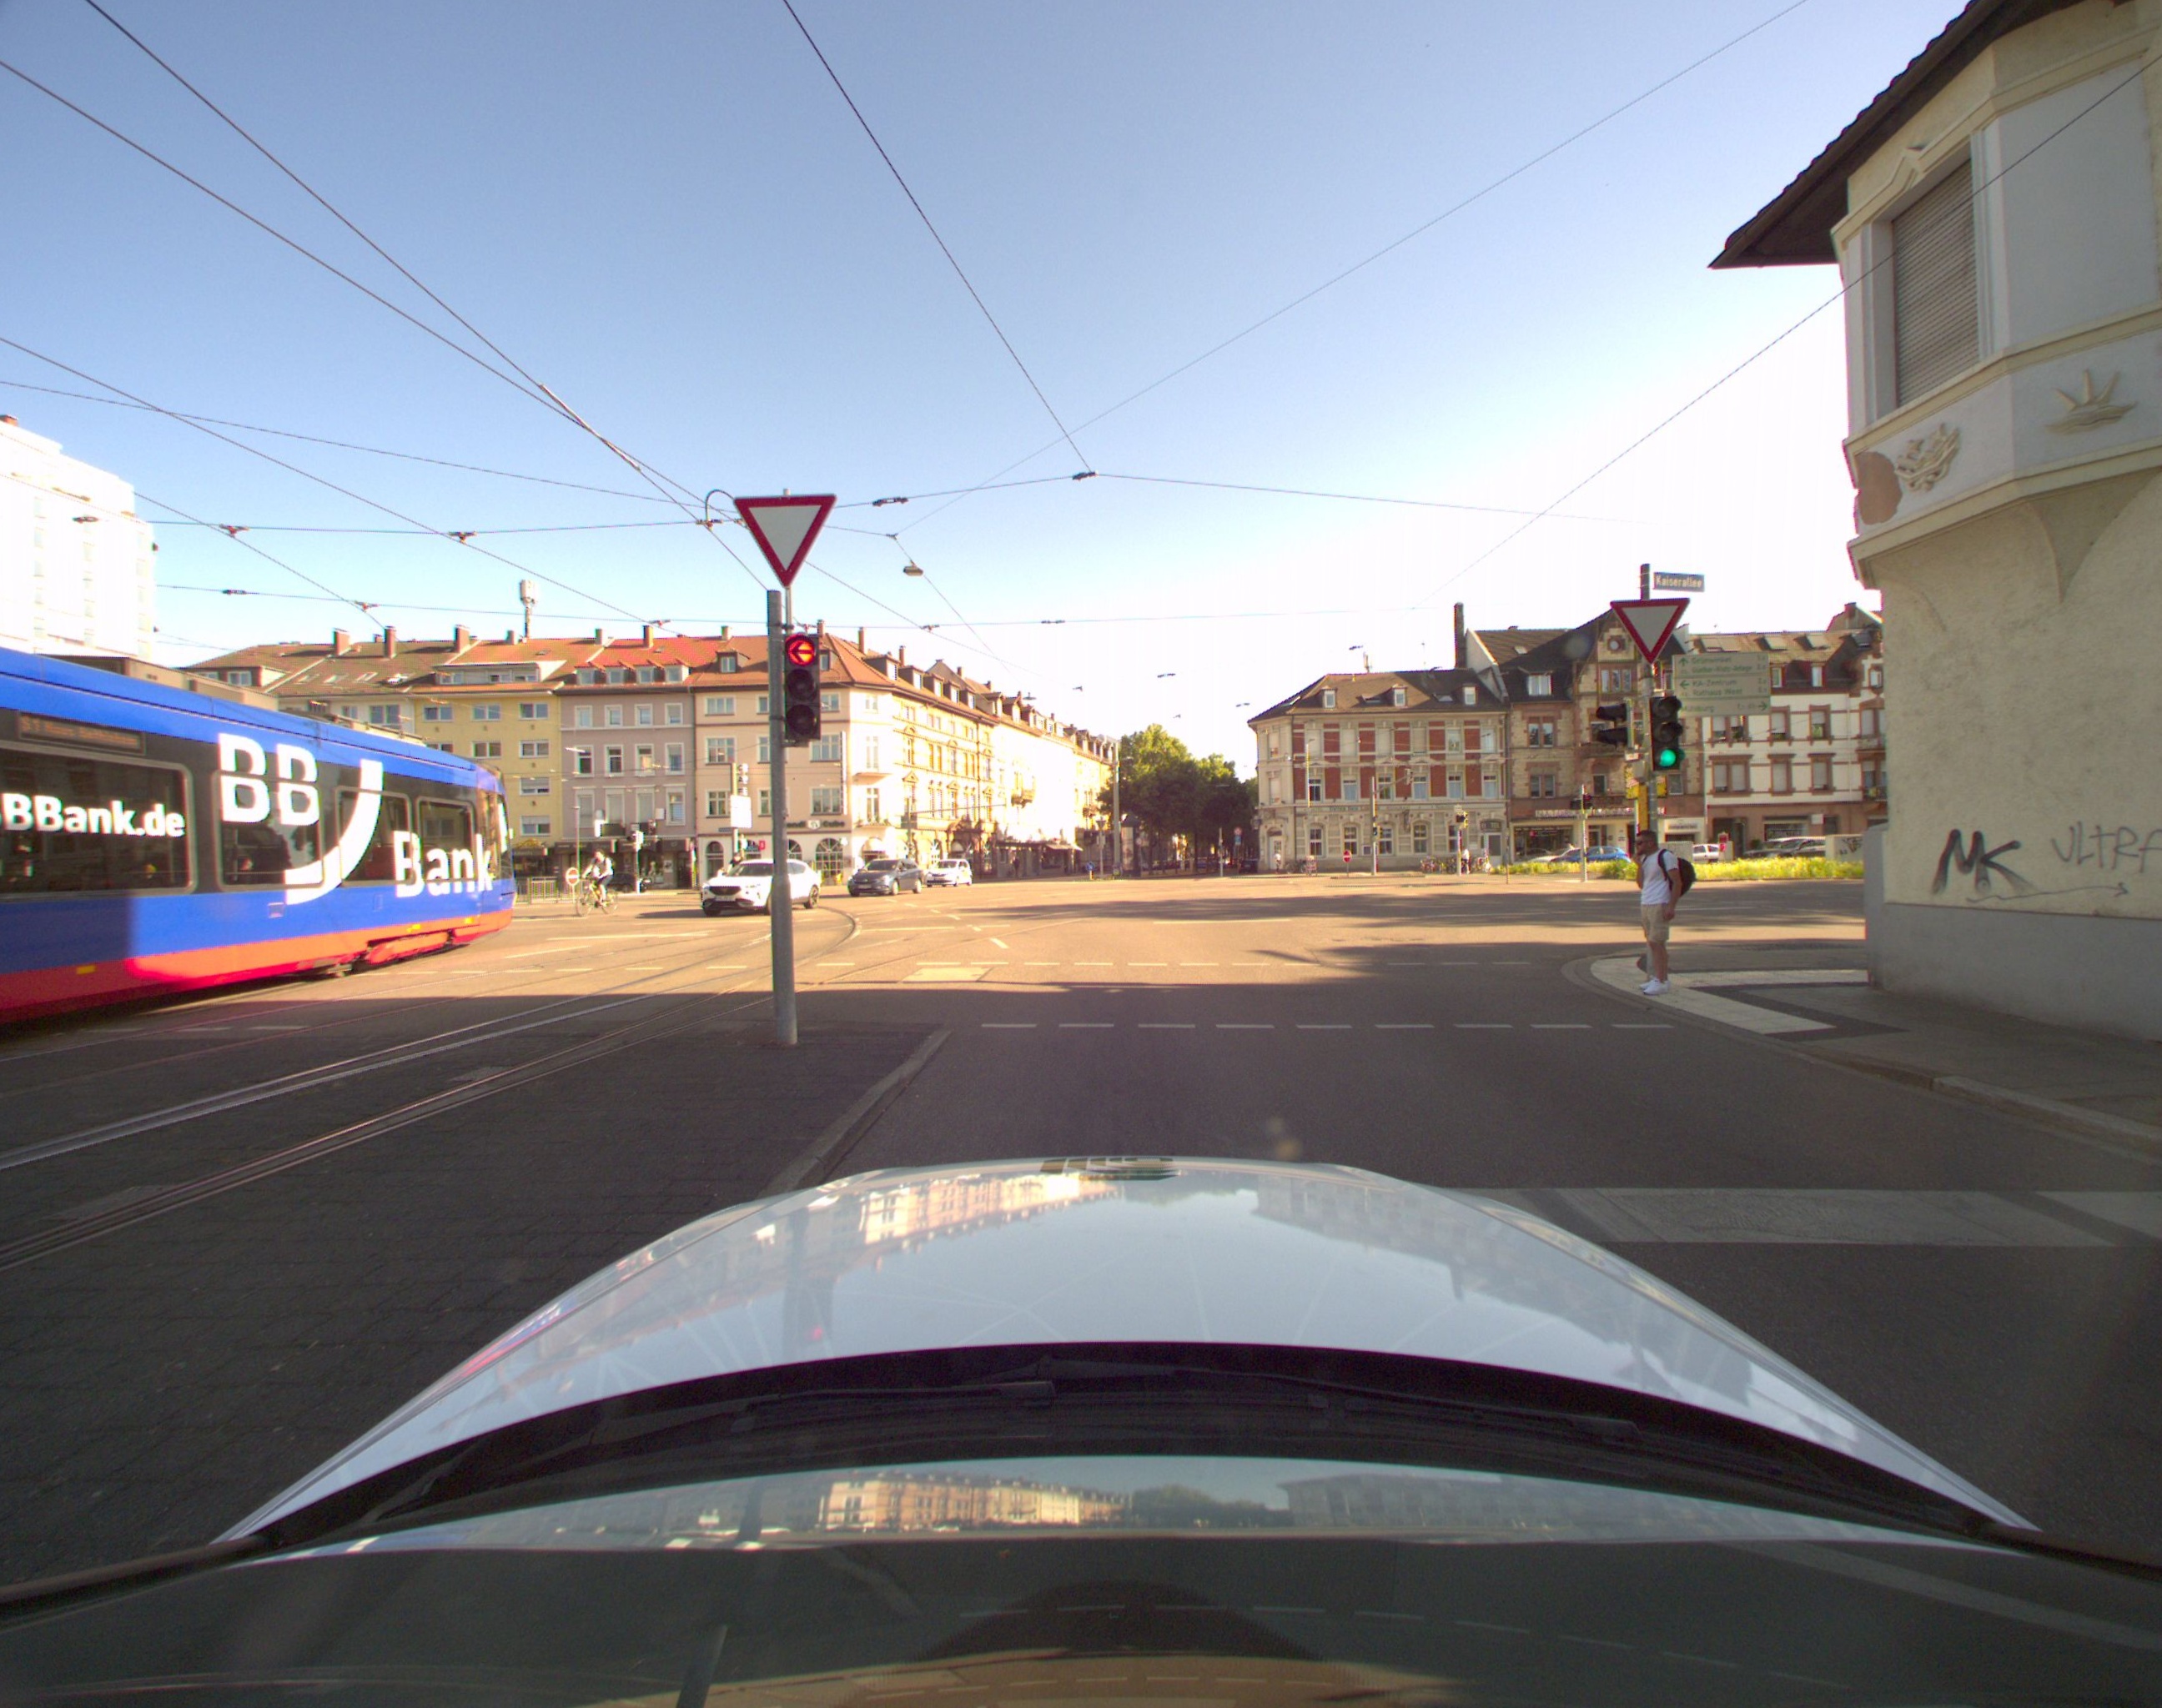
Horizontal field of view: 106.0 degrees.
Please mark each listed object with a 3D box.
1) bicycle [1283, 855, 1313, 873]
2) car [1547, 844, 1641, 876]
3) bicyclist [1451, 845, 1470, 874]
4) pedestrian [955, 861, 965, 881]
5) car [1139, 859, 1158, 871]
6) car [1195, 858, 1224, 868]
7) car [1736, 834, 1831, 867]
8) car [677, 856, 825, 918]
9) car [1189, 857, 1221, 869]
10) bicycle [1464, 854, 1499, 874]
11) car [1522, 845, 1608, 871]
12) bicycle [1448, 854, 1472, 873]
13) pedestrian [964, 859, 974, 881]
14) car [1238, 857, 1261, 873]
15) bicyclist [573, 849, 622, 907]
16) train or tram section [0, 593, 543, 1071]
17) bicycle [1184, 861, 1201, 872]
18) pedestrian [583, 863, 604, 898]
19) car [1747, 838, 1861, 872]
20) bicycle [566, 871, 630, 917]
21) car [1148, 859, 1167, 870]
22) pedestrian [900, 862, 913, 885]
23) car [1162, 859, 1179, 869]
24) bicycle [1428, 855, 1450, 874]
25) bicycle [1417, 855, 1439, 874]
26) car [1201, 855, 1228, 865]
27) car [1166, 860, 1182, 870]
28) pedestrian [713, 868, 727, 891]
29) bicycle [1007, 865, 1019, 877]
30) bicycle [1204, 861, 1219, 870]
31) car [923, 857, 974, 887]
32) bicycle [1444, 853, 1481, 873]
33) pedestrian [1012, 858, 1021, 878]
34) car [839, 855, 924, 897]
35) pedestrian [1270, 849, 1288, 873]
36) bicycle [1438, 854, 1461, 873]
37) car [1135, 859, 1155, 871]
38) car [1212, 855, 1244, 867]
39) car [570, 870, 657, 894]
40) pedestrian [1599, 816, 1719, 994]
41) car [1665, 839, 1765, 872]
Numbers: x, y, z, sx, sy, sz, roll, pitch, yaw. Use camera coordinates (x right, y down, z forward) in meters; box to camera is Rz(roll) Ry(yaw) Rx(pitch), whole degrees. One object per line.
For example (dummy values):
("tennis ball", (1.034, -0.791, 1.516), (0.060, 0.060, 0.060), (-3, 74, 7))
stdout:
("bicycle", (15.189, 0.712, 56.974), (1.950, 1.191, 0.547), (-2, 0, 6))
("car", (28.318, 0.332, 45.043), (3.973, 1.668, 1.955), (-2, 0, 1))
("bicyclist", (23.572, 0.312, 50.535), (0.869, 1.764, 0.602), (-1, 0, 4))
("pedestrian", (-9.876, 1.394, 66.525), (0.546, 1.642, 0.540), (-2, 0, 21))
("car", (9.724, 1.580, 116.698), (1.978, 1.497, 4.051), (-2, 0, 16))
("car", (20.203, 1.436, 128.023), (3.949, 1.545, 2.012), (-2, 0, 30))
("car", (45.235, -0.197, 52.511), (4.388, 1.965, 1.955), (-2, 0, 1))
("car", (-8.922, 0.828, 22.483), (1.984, 1.497, 4.352), (-2, 0, 4))
("car", (17.531, 1.299, 115.440), (3.949, 1.545, 2.012), (-2, 0, 30))
("bicycle", (25.745, 0.633, 52.323), (1.961, 1.191, 0.677), (-1, 0, -10))
("car", (28.510, 0.254, 48.036), (3.973, 1.412, 1.846), (-2, 0, 1))
("bicycle", (24.520, 0.585, 52.751), (0.674, 1.191, 1.969), (-1, 0, 3))
("pedestrian", (-9.263, 1.335, 67.445), (0.575, 1.836, 0.636), (-2, 0, 18))
("car", (17.016, 1.142, 82.180), (1.978, 1.497, 4.051), (-2, 0, 16))
("bicyclist", (-13.459, 0.644, 22.680), (0.712, 1.559, 0.987), (-1, 0, 2))
("train or tram section", (-10.573, -0.107, 9.594), (3.059, 3.613, 12.057), (-1, 0, -14))
("bicycle", (11.333, 1.278, 82.659), (0.586, 1.067, 1.928), (-1, 0, -34))
("pedestrian", (-23.410, 1.259, 39.121), (0.731, 1.627, 0.664), (-1, 0, -39))
("car", (39.633, 0.059, 44.715), (4.456, 1.668, 1.955), (-2, 0, 1))
("bicycle", (-13.415, 1.080, 22.692), (0.483, 1.166, 2.057), (-1, 0, 2))
("car", (11.520, 1.539, 122.519), (1.978, 1.497, 4.051), (-2, 0, 16))
("pedestrian", (-12.360, 1.371, 57.684), (0.626, 1.642, 0.554), (-2, 0, 15))
("car", (14.482, 1.630, 132.118), (1.978, 1.497, 4.051), (-2, 0, 16))
("bicycle", (23.199, 0.650, 52.789), (0.674, 1.191, 1.969), (-1, 0, 3))
("bicycle", (22.497, 0.640, 52.780), (0.674, 1.191, 1.969), (-1, 0, 3))
("car", (21.948, 0.971, 134.099), (3.949, 1.545, 2.012), (-2, 0, 30))
("car", (15.561, 1.872, 136.362), (1.978, 1.497, 4.051), (-2, 0, 16))
("pedestrian", (-24.759, 1.742, 55.856), (0.656, 1.524, 0.694), (-1, 0, -3))
("bicycle", (-6.708, 1.672, 79.884), (0.491, 1.067, 1.778), (-2, 0, 18))
("bicycle", (15.874, 1.351, 99.053), (0.586, 1.067, 1.928), (-1, 0, -34))
("car", (-7.020, 0.928, 43.469), (1.708, 1.497, 3.591), (-2, 0, 8))
("bicycle", (23.641, 0.578, 50.521), (1.952, 1.191, 0.602), (-2, 0, 4))
("pedestrian", (-6.205, 1.350, 78.402), (0.676, 1.908, 0.636), (-2, 0, 18))
("car", (-7.730, 0.817, 32.050), (1.765, 1.497, 4.581), (-2, 0, 6))
("pedestrian", (13.880, 0.505, 57.183), (0.722, 1.669, 0.928), (-1, -1, -43))
("bicycle", (23.847, 0.598, 52.774), (0.674, 1.191, 1.969), (-1, 0, 3))
("car", (8.934, 1.547, 112.852), (1.978, 1.497, 4.051), (-2, 0, 16))
("car", (20.962, 0.997, 116.152), (3.948, 1.545, 2.013), (-2, 0, 32))
("car", (-30.701, 1.833, 53.545), (4.626, 1.440, 1.743), (-1, -1, -1))
("pedestrian", (6.056, 0.518, 8.544), (0.691, 1.740, 0.668), (-4, -1, -28))
("car", (34.805, 0.085, 44.778), (3.973, 1.668, 1.955), (-2, 0, 1))
